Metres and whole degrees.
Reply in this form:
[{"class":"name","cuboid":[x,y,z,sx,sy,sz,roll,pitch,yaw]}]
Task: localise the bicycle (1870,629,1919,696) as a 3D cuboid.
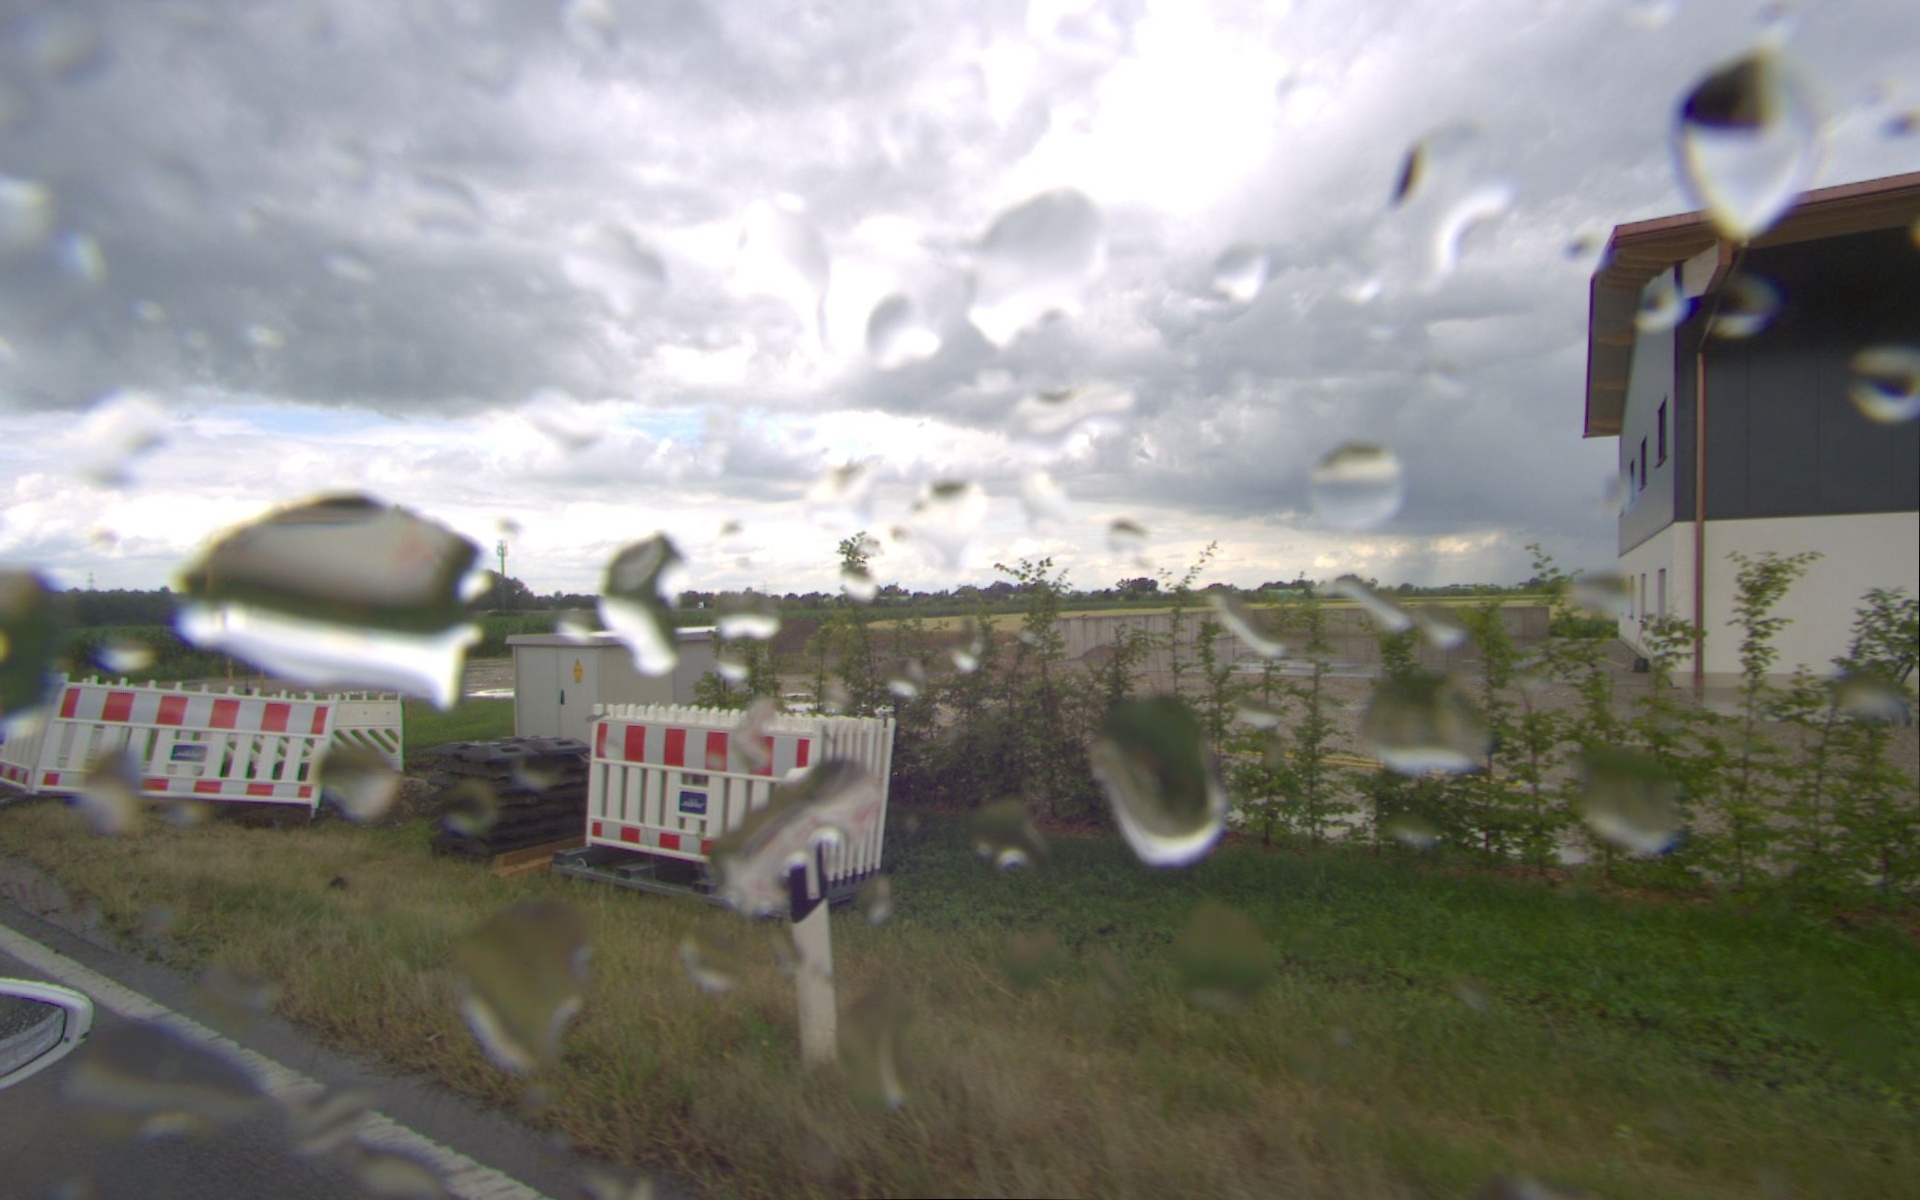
[{"class":"bicycle","cuboid":[16.210,1.036,16.574,1.637,1.086,0.389,-1,0,33]}]
